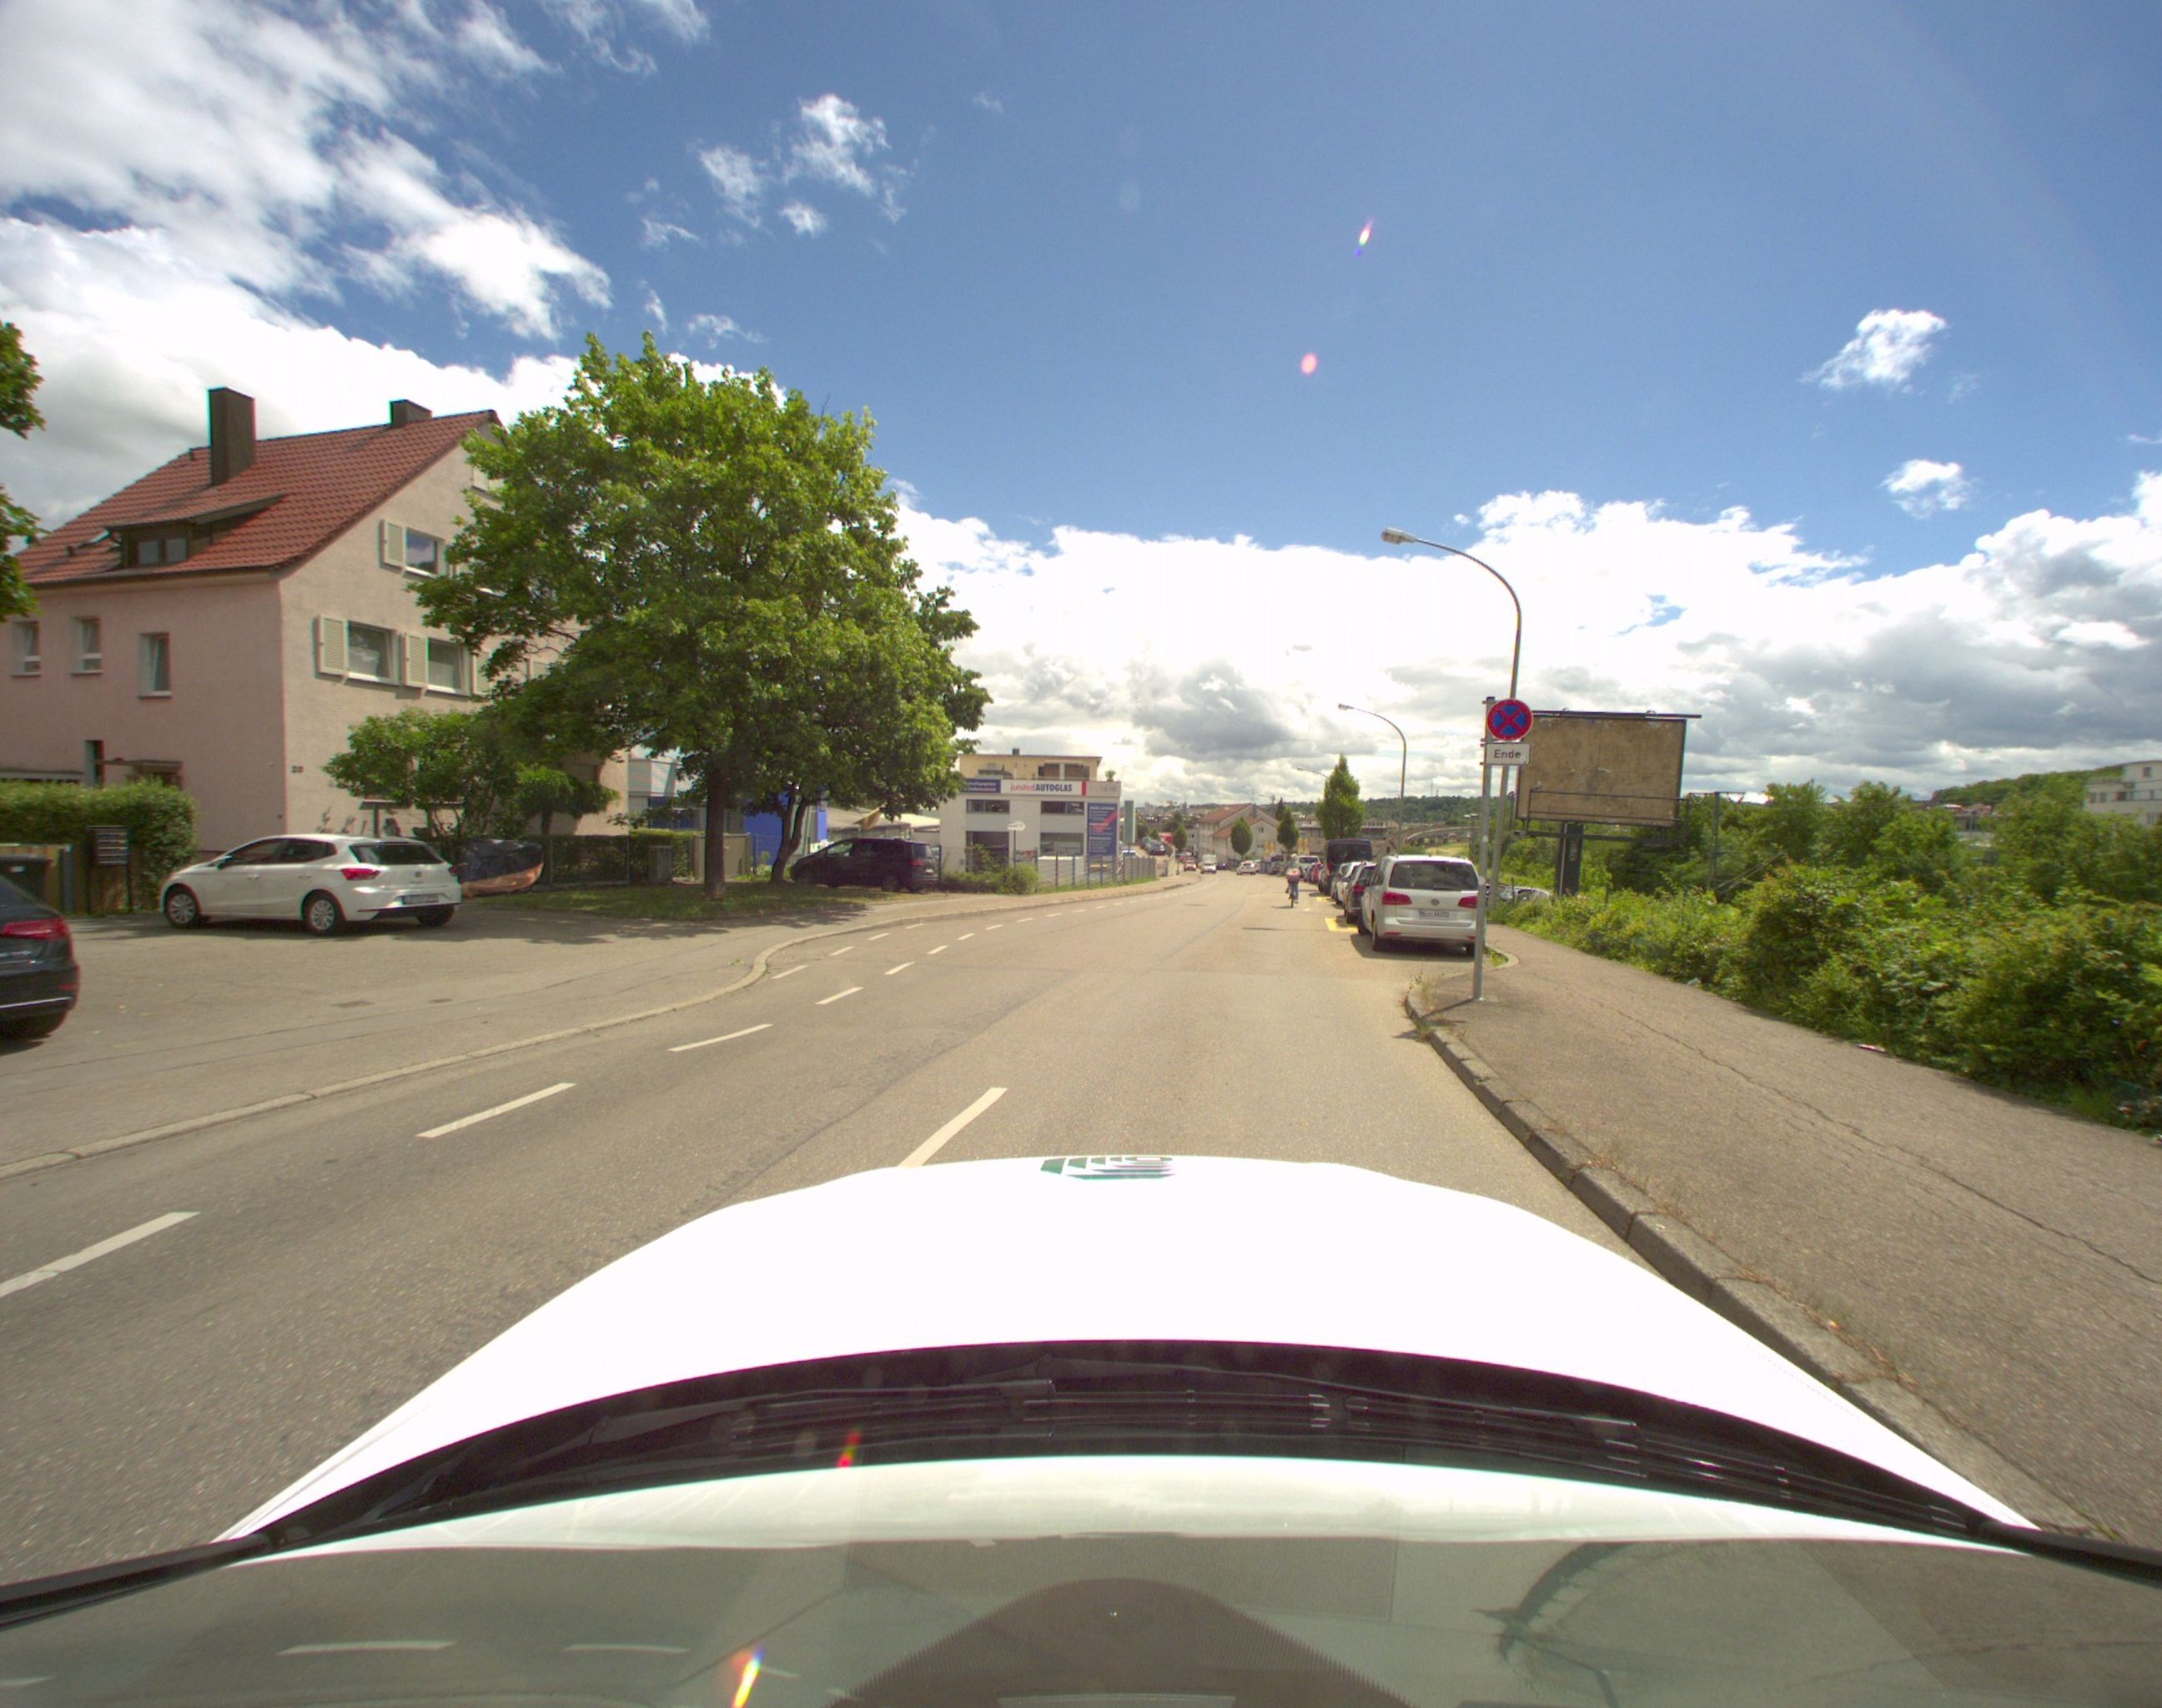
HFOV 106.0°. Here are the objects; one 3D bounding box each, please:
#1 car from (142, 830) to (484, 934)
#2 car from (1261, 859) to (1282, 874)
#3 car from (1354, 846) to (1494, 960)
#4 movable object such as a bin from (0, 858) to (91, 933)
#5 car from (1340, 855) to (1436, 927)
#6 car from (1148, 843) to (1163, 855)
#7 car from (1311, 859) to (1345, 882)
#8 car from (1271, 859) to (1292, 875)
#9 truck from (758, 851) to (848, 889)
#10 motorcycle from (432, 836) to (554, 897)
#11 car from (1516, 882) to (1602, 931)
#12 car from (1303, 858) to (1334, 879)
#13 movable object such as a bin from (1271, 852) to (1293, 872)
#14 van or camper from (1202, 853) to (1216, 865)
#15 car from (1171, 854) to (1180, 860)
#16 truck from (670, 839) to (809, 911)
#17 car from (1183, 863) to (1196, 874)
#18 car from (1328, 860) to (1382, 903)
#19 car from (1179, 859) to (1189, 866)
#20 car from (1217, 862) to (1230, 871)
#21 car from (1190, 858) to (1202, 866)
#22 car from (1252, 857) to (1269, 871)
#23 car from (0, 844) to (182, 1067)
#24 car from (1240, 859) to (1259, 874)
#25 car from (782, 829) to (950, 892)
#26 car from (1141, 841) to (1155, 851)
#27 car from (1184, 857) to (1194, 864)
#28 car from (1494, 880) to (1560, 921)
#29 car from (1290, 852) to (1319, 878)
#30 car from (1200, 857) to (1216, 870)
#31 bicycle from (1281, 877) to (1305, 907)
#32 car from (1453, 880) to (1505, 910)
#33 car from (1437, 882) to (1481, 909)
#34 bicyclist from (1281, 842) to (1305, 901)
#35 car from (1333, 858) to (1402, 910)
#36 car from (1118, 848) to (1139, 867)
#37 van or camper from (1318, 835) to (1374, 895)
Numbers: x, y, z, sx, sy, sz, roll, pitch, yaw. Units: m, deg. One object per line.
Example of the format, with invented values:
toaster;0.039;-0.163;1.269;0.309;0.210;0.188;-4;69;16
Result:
car;-11.703;0.376;12.537;3.893;1.404;1.882;1;0;11
car;23.006;1.530;98.459;2.123;1.706;4.008;-1;-1;7
car;5.990;0.745;14.677;1.693;1.677;4.325;2;0;15
movable object such as a bin;-15.919;0.613;12.367;0.749;1.061;0.885;2;0;19
car;7.380;0.800;19.948;1.693;1.487;4.591;2;0;15
car;8.971;-0.613;97.951;1.663;1.323;3.722;0;0;4
car;16.806;1.098;55.563;1.863;1.508;4.013;-1;-1;12
car;21.867;1.413;88.993;1.981;1.618;4.012;-1;-1;11
truck;-20.213;1.149;59.409;5.759;2.706;2.178;-1;-1;2
motorcycle;-13.863;0.279;19.305;0.911;1.315;2.244;2;0;14
car;18.352;1.953;31.484;1.693;1.510;4.547;2;0;15
car;17.507;1.074;60.149;1.891;1.442;3.554;-1;-1;11
movable object such as a bin;23.096;0.915;93.788;2.123;2.303;2.562;-1;-1;7
van or camper;23.019;0.839;146.302;1.986;2.013;4.001;3;0;2
car;22.961;0.652;197.729;1.986;1.420;4.002;-1;-1;2
truck;-14.981;0.880;36.231;2.438;2.874;5.908;1;-1;17
car;16.159;2.131;121.561;1.701;1.574;4.004;-1;-1;4
car;10.651;1.022;31.839;1.693;1.510;3.711;2;0;15
car;22.907;1.838;181.717;1.985;1.464;4.003;-1;-1;3
car;23.874;2.148;136.687;1.983;1.464;4.008;-1;-1;7
car;23.030;1.605;163.602;1.985;1.464;4.003;-1;-1;3
car;22.901;1.275;104.006;1.803;1.706;4.008;-1;-1;7
car;-9.106;0.624;5.753;4.100;1.393;2.008;2;1;15
car;19.003;1.447;91.891;1.981;1.618;4.011;-1;-1;10
car;-6.810;0.201;25.931;4.665;1.716;2.007;2;-1;14
car;9.544;-1.173;116.165;1.664;1.323;3.720;-1;1;1
car;23.181;1.466;175.053;1.985;1.464;4.003;-1;-1;3
car;19.615;2.018;35.963;1.693;1.510;3.711;2;0;15
car;18.335;0.915;66.984;1.980;2.014;4.934;1;0;12
car;15.848;1.235;101.668;1.695;1.562;4.332;0;-1;4
bicycle;6.809;1.189;26.082;0.682;0.878;2.110;-1;-1;15
car;22.021;2.266;45.175;1.780;1.506;3.893;-1;-1;14
car;23.210;2.528;50.128;1.780;1.506;3.893;-1;-1;14
bicyclist;6.785;0.560;26.045;0.679;1.826;1.085;-1;-1;15
car;9.247;0.903;26.537;1.693;1.479;3.972;2;0;14
car;4.400;0.319;75.783;1.840;1.650;4.001;-1;0;1
van or camper;12.261;0.503;38.001;2.109;2.585;5.940;1;-1;15
